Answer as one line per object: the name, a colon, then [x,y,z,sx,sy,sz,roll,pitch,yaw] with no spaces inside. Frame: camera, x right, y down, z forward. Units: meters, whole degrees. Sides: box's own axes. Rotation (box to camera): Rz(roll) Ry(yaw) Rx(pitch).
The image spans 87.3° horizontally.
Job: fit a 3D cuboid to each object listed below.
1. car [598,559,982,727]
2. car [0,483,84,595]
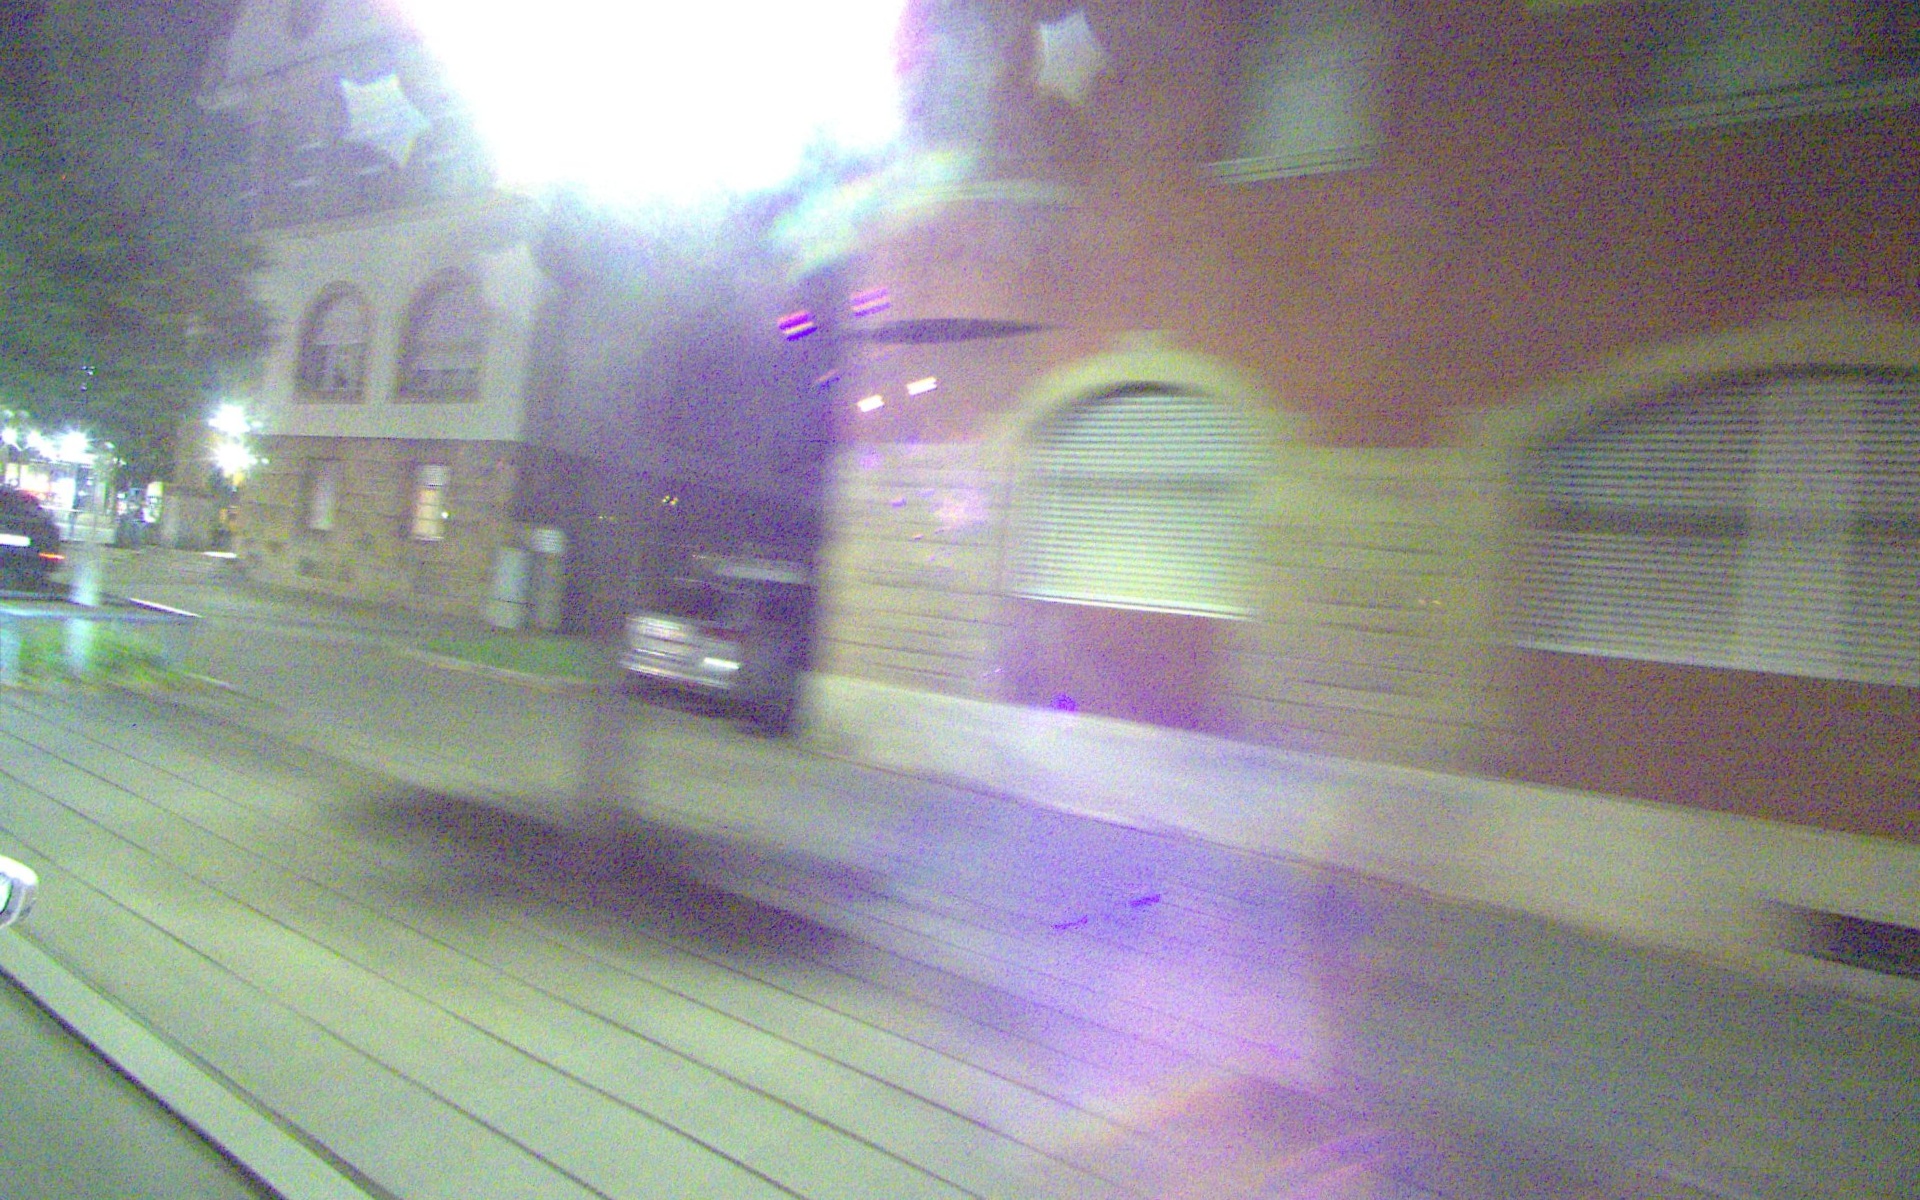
car: [-1.784,0.542,11.952,1.761,1.478,4.426,8,1,36]
car: [-15.286,-1.106,14.949,4.644,1.477,1.738,7,-1,27]
